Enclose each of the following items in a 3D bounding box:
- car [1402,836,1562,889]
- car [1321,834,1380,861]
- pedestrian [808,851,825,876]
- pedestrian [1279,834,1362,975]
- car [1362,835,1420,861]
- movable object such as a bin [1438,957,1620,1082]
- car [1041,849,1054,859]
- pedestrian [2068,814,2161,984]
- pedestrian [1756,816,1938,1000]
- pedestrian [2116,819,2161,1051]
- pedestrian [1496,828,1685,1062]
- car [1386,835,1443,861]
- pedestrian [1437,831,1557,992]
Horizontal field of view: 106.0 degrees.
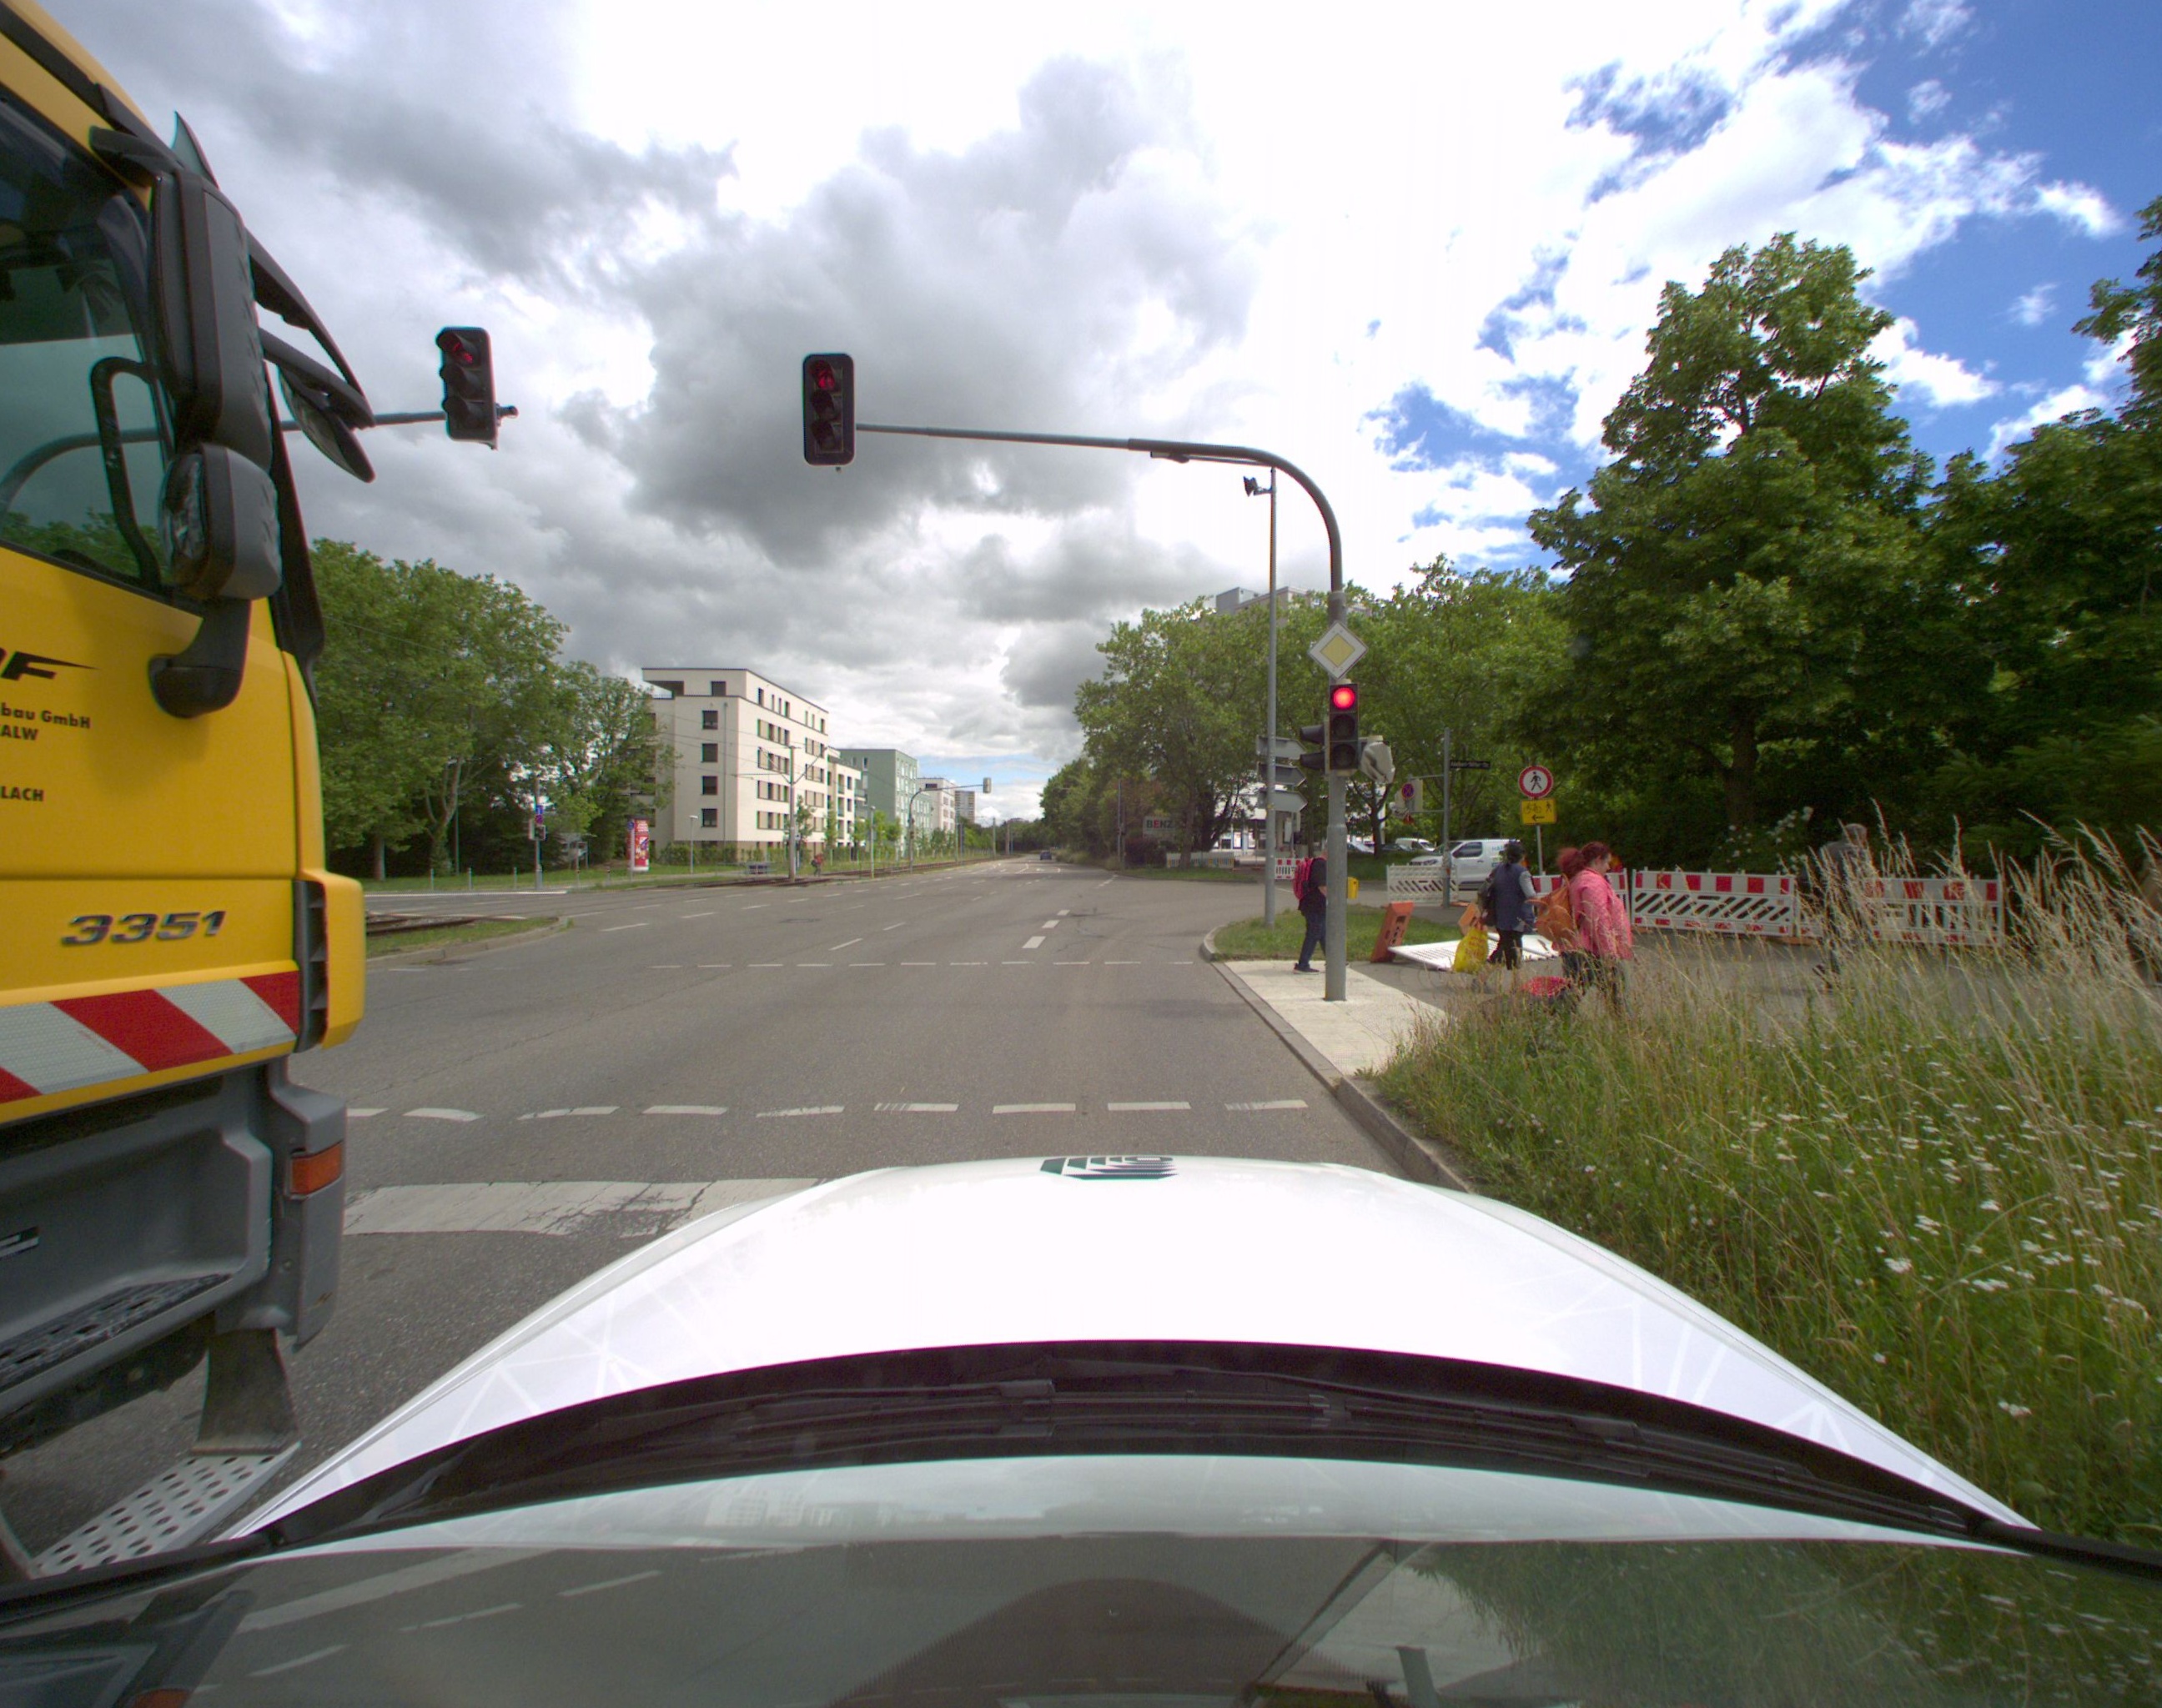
[{"bbox_3d":[14.922,0.302,30.458,5.063,1.874,1.947,-1,0,-2],"label":"car"},{"bbox_3d":[20.570,-0.481,62.253,2.006,2.013,3.962,-1,0,-29],"label":"car"},{"bbox_3d":[-16.540,0.589,50.927,0.827,1.516,0.636,-1,0,1],"label":"pedestrian"},{"bbox_3d":[2.876,0.568,9.737,0.885,1.596,0.912,-1,0,20],"label":"pedestrian"},{"bbox_3d":[24.601,-0.488,64.734,2.006,2.013,3.962,-1,0,-29],"label":"car"},{"bbox_3d":[2.934,1.074,5.414,0.792,0.662,0.778,-1,0,2],"label":"movable object such as a bin"},{"bbox_3d":[-5.244,0.030,127.618,1.978,1.486,4.485,-1,0,-4],"label":"car"},{"bbox_3d":[11.446,0.454,8.707,0.778,1.742,0.829,-1,0,4],"label":"pedestrian"},{"bbox_3d":[7.820,0.522,8.370,0.998,1.773,0.930,-1,0,2],"label":"pedestrian"},{"bbox_3d":[8.144,0.573,5.584,0.954,1.648,0.881,-1,0,3],"label":"pedestrian"},{"bbox_3d":[3.590,0.604,5.808,0.877,1.554,0.747,-1,0,2],"label":"pedestrian"},{"bbox_3d":[27.316,-0.492,66.868,2.006,2.013,3.962,-1,0,-29],"label":"car"},{"bbox_3d":[4.381,0.576,8.647,0.906,1.607,0.932,-1,0,11],"label":"pedestrian"}]
